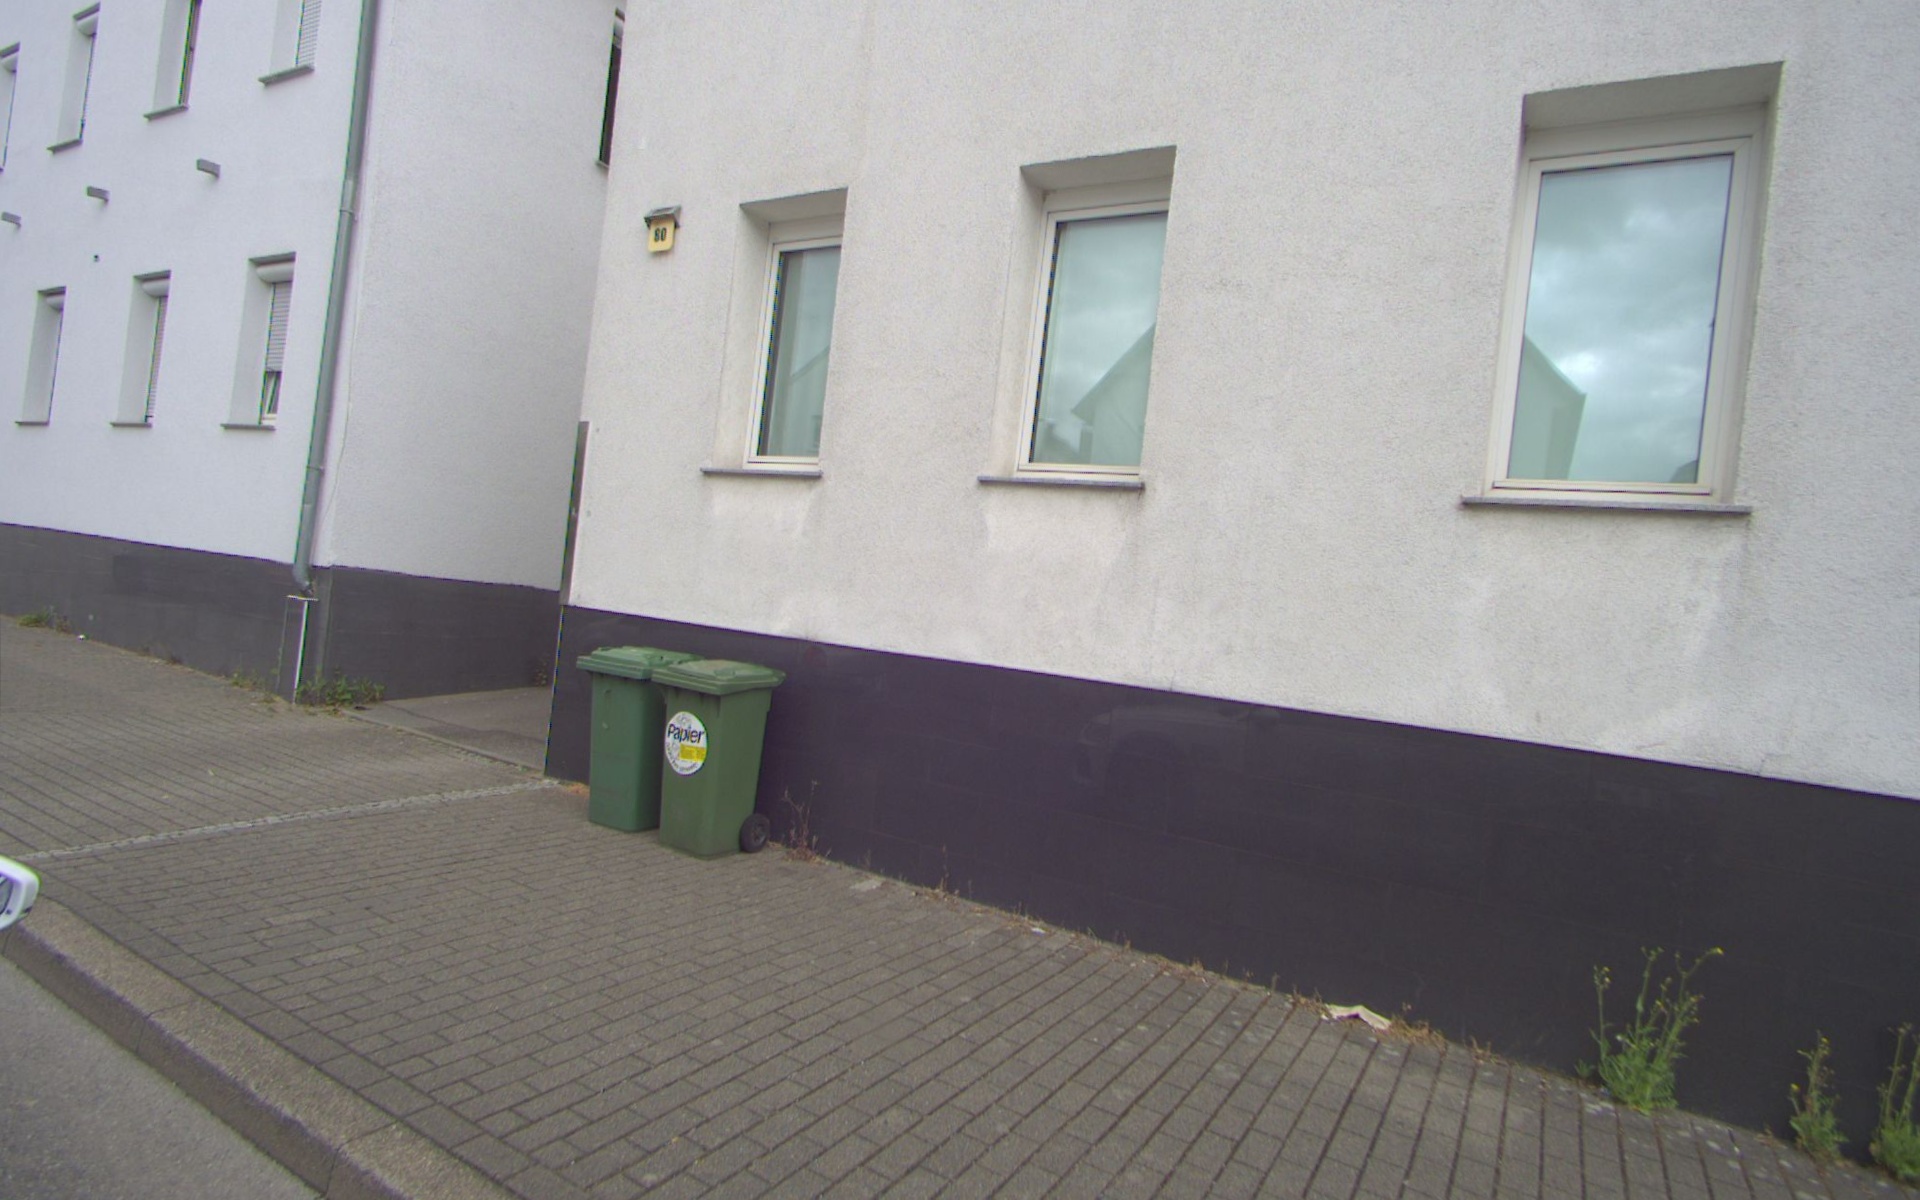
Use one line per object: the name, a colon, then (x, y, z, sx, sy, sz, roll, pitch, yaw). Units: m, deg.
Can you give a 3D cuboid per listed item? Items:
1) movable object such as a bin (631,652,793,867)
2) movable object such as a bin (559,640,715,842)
movable object such as a bin: (-1.240, 0.764, 5.053, 0.479, 0.953, 0.540, 7, 2, 32)
movable object such as a bin: (-1.698, 0.711, 5.310, 0.479, 0.953, 0.540, 7, 2, 32)
